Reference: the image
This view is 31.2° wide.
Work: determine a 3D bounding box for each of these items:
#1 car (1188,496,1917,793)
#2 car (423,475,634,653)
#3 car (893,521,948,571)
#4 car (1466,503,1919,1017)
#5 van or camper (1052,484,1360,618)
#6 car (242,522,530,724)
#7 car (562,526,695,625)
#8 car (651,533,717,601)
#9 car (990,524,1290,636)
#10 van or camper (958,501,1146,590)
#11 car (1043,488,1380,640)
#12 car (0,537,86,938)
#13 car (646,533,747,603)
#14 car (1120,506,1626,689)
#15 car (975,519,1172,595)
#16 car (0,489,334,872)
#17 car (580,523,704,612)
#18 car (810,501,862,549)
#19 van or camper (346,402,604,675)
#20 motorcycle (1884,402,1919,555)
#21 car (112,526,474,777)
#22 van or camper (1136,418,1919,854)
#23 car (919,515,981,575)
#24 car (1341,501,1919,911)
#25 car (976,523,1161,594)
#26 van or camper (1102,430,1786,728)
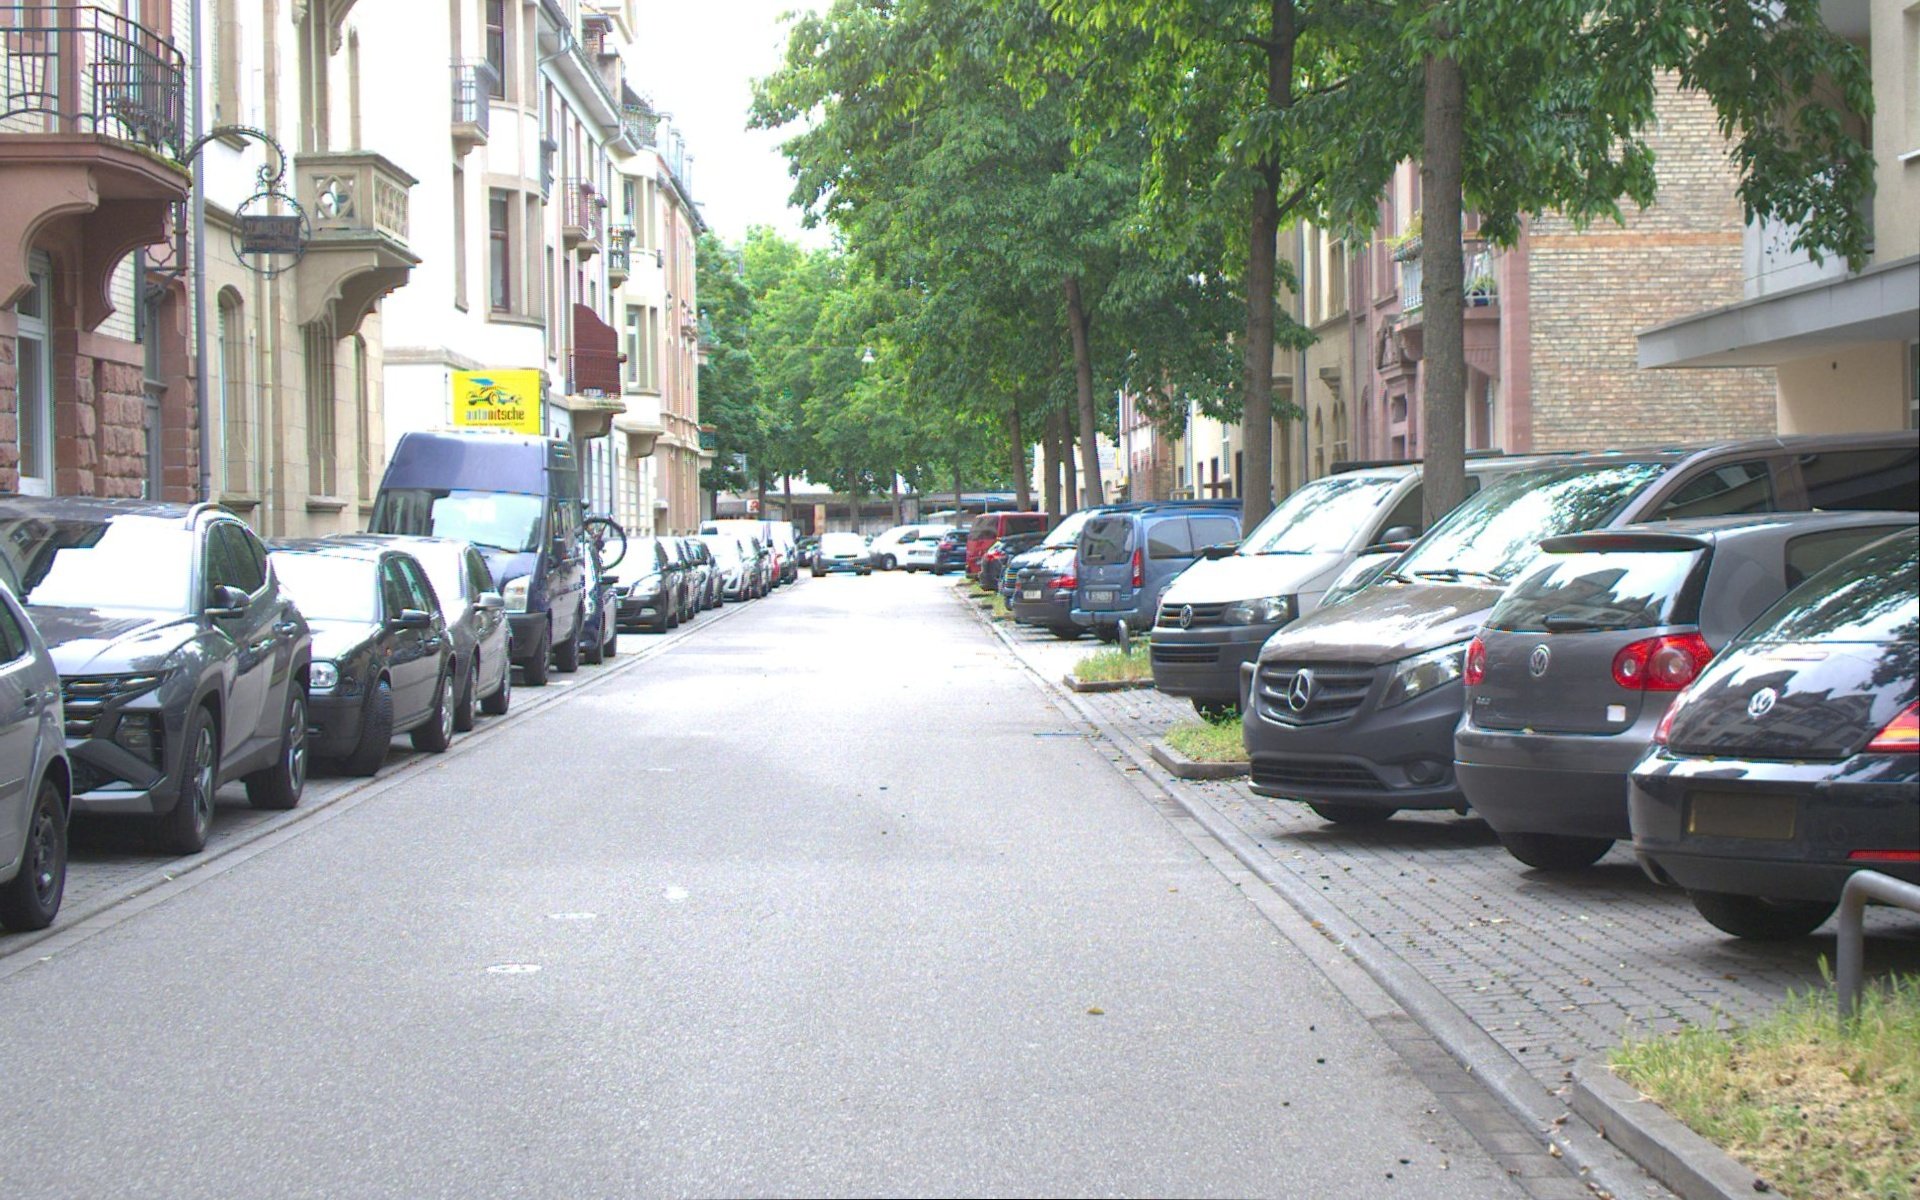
[{"bbox_3d":[3.543,0.212,20.386,3.995,1.439,1.841,-4,2,-32],"label":"car"},{"bbox_3d":[-5.177,-0.463,41.828,1.993,2.007,4.891,-1,1,-1],"label":"car"},{"bbox_3d":[-1.496,-1.993,128.403,1.993,1.788,4.000,1,0,-1],"label":"car"},{"bbox_3d":[3.977,0.383,11.684,4.039,1.478,1.948,-3,1,-27],"label":"car"},{"bbox_3d":[4.111,-0.836,57.174,4.775,2.130,2.055,-2,1,-32],"label":"van or camper"},{"bbox_3d":[-4.478,0.165,27.328,1.667,1.468,4.000,1,0,-1],"label":"car"},{"bbox_3d":[-5.123,-0.405,53.495,1.789,1.475,4.023,0,1,-2],"label":"car"},{"bbox_3d":[-5.543,-0.683,69.187,1.135,1.305,3.261,-1,1,-2],"label":"car"},{"bbox_3d":[2.645,-0.315,50.390,4.010,1.554,1.885,-1,1,-31],"label":"car"},{"bbox_3d":[2.247,-1.345,83.728,4.146,2.078,1.953,-1,1,-28],"label":"van or camper"},{"bbox_3d":[3.490,-0.498,47.566,4.172,1.863,2.000,-3,1,-30],"label":"car"},{"bbox_3d":[-4.230,0.507,11.537,1.662,1.416,3.929,1,1,-1],"label":"car"},{"bbox_3d":[-5.847,-0.735,76.680,1.993,1.470,4.000,-1,1,-1],"label":"car"},{"bbox_3d":[3.814,-0.046,31.545,4.301,1.388,1.923,-4,2,-32],"label":"car"},{"bbox_3d":[2.270,-0.878,69.579,3.760,1.460,1.729,-1,1,-6],"label":"car"},{"bbox_3d":[-4.343,0.286,16.968,1.786,1.641,4.362,1,1,-1],"label":"car"},{"bbox_3d":[-5.431,-0.578,59.076,1.829,1.422,3.802,2,1,-2],"label":"car"},{"bbox_3d":[-4.475,-2.694,124.321,1.821,1.639,3.754,1,0,-2],"label":"car"},{"bbox_3d":[-5.019,-0.662,36.282,2.008,2.642,5.316,-1,1,-1],"label":"van or camper"},{"bbox_3d":[8.477,-1.041,28.924,0.678,1.296,2.253,-3,1,-1],"label":"motorcycle"},{"bbox_3d":[-4.250,0.265,22.443,1.634,1.468,4.000,1,1,-1],"label":"car"},{"bbox_3d":[3.621,0.078,17.394,5.005,1.863,2.127,-3,1,-28],"label":"van or camper"},{"bbox_3d":[-0.372,-1.953,120.808,1.993,2.007,4.000,2,1,-2],"label":"car"},{"bbox_3d":[3.774,0.341,14.637,3.849,1.497,1.913,-3,1,-30],"label":"car"},{"bbox_3d":[2.318,-0.905,74.122,3.760,1.460,1.729,-1,1,-6],"label":"car"},{"bbox_3d":[3.678,-0.170,26.042,4.729,1.987,2.000,-3,-1,-26],"label":"van or camper"}]
